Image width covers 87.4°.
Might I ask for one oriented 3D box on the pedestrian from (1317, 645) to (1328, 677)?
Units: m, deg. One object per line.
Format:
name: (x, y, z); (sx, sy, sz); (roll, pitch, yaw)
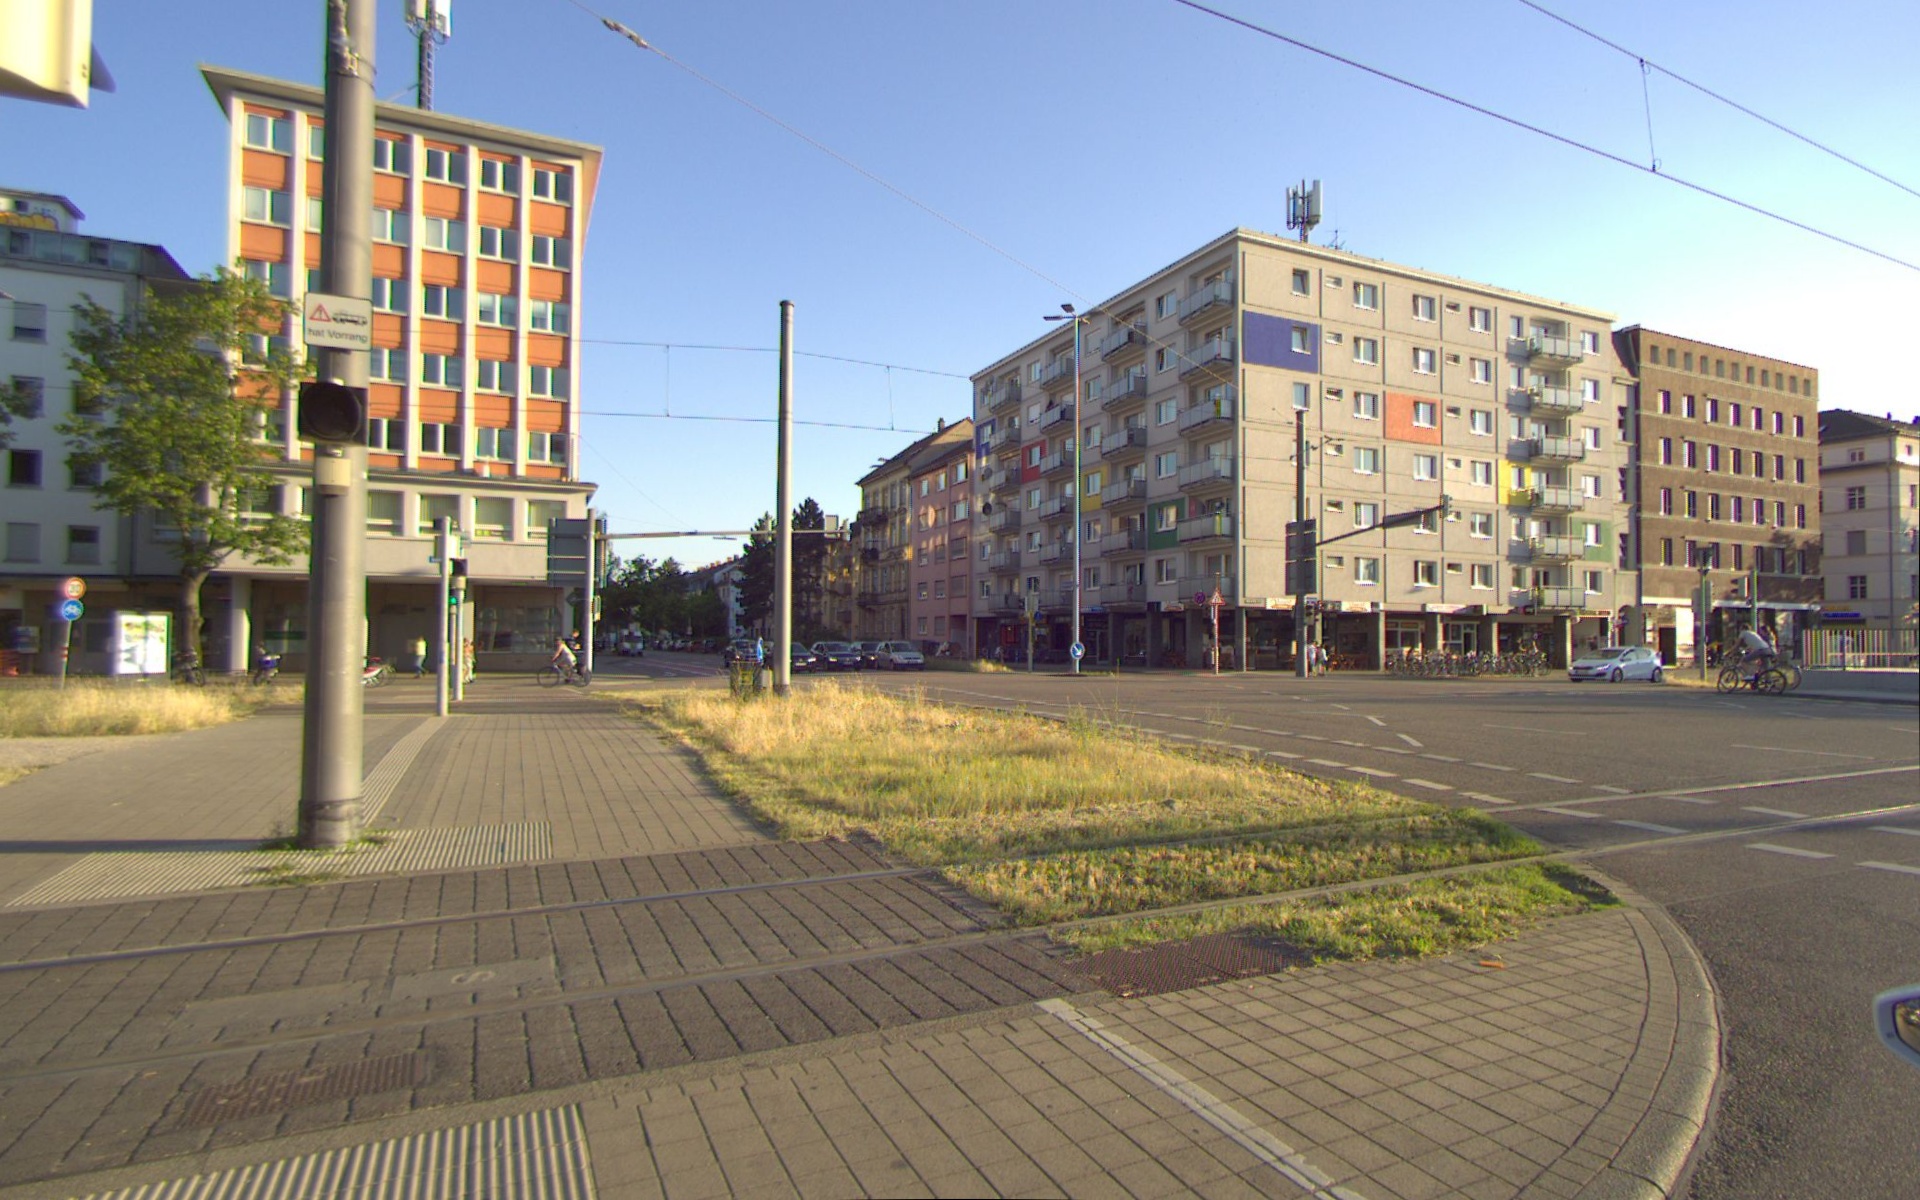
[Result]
pedestrian: (16.269, 2.743, 45.110); (0.376, 1.401, 0.394); (-1, -2, 37)

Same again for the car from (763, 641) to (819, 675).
car: (-7.993, 2.695, 47.214); (1.858, 1.505, 3.981); (1, -2, -21)

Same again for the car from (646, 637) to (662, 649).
car: (-48.429, 6.832, 158.860); (1.972, 1.858, 4.196); (1, -2, -24)

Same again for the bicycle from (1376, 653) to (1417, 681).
bicycle: (20.300, 3.098, 46.725); (0.630, 1.224, 1.789); (1, -2, -25)

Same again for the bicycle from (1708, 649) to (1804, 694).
bicycle: (20.549, 1.822, 25.960); (0.628, 1.089, 1.884); (2, -2, -42)

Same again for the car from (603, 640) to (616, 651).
car: (-65.387, 8.519, 187.369); (1.972, 2.076, 4.197); (0, -3, -24)

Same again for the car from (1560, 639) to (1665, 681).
car: (26.402, 2.387, 40.625); (3.945, 1.639, 1.685); (1, -2, -24)

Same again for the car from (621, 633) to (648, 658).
car: (-30.977, 4.328, 95.563); (1.972, 2.355, 4.196); (1, -2, -24)

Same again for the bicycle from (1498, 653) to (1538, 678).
bicycle: (27.181, 3.172, 48.948); (0.625, 1.139, 1.723); (2, -2, -23)

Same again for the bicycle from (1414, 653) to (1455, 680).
bicycle: (22.045, 3.081, 46.689); (0.591, 1.154, 1.752); (1, -2, -24)

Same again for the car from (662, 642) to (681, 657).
car: (-40.836, 6.947, 142.040); (1.972, 2.023, 4.197); (1, -3, -24)

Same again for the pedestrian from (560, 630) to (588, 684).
pedestrian: (-14.080, 2.067, 36.624); (0.718, 1.972, 0.709); (2, -2, -42)

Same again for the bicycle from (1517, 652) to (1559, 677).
bicycle: (28.475, 3.159, 49.526); (0.738, 1.194, 1.687); (1, -2, -23)

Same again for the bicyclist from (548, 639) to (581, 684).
bicyclist: (-12.776, 1.971, 32.439); (0.841, 1.445, 0.501); (0, -1, -2)

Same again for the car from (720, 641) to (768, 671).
car: (-12.248, 3.139, 56.800); (1.972, 1.551, 3.978); (1, -2, -23)

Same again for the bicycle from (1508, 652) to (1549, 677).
bicycle: (27.818, 3.127, 49.198); (0.695, 1.168, 1.687); (1, -2, -23)

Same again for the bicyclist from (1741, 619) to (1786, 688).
bicyclist: (21.974, 1.451, 27.471); (0.534, 1.842, 0.868); (2, -2, -42)

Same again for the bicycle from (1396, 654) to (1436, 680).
bicycle: (21.304, 3.118, 46.943); (0.600, 1.157, 1.771); (1, -2, -25)

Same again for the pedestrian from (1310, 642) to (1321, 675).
pedestrian: (16.274, 2.669, 46.014); (0.372, 1.467, 0.393); (-1, -2, 37)

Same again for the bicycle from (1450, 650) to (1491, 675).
bicycle: (24.671, 3.004, 48.590); (0.597, 1.174, 1.771); (1, -2, -25)

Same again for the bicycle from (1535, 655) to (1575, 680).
bicycle: (29.768, 3.366, 50.277); (0.687, 1.159, 1.687); (1, -2, -23)

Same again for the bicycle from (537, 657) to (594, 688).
bicycle: (-12.727, 2.346, 32.441); (1.635, 0.956, 0.509); (0, -2, 0)

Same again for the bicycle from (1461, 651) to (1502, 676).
bicycle: (25.300, 3.055, 48.767); (0.597, 1.151, 1.766); (1, -2, -24)

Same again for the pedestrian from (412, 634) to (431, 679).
pedestrian: (-22.003, 2.310, 41.070); (0.632, 1.815, 0.581); (1, -2, -26)

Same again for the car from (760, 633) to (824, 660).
car: (-11.601, 3.203, 69.332); (3.923, 1.806, 1.999); (0, -2, 23)

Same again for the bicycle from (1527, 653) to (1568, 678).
bicycle: (29.160, 3.262, 49.865); (0.738, 1.185, 1.687); (1, -2, -23)

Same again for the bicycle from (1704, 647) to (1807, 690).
bicycle: (21.838, 1.869, 27.610); (0.535, 1.098, 2.144); (2, -2, -41)

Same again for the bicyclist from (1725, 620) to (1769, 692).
bicyclist: (20.440, 1.437, 26.088); (0.642, 1.842, 0.785); (2, -2, -43)

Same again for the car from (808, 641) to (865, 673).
car: (-6.288, 2.836, 50.862); (1.970, 1.505, 3.981); (1, -2, -21)

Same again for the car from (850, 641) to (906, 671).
car: (-4.507, 3.020, 54.799); (1.970, 1.505, 3.981); (1, -2, -21)

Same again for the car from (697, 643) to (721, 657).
car: (-28.711, 5.719, 114.654); (1.972, 1.537, 4.196); (1, -2, -24)

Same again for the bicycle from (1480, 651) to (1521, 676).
bicycle: (26.066, 3.058, 48.470); (0.544, 1.132, 1.750); (1, -2, -24)

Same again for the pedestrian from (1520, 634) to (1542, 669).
pedestrian: (31.038, 2.777, 54.577); (0.727, 1.865, 0.781); (1, -2, -33)

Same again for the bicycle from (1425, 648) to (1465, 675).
bicycle: (22.585, 2.867, 46.798); (0.533, 1.183, 1.761); (1, -2, -24)

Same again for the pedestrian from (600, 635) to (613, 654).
pedestrian: (-38.558, 4.886, 109.484); (1.017, 2.040, 0.934); (2, -2, -38)

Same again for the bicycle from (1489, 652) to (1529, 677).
bicycle: (26.596, 3.123, 48.697); (0.560, 1.134, 1.756); (1, -2, -24)

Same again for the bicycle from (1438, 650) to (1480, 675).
bicycle: (24.011, 2.994, 48.395); (0.631, 1.176, 1.826); (1, -2, -24)

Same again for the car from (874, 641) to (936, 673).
car: (-2.798, 2.825, 50.301); (1.970, 1.505, 3.981); (1, -2, -21)

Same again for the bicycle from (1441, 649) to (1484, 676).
bicycle: (23.678, 2.924, 47.355); (0.643, 1.206, 1.783); (1, -2, -25)

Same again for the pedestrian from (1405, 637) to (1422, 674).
pedestrian: (21.611, 2.640, 47.894); (0.573, 1.706, 0.543); (-1, -2, 44)

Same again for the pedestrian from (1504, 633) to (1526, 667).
pedestrian: (30.546, 2.763, 55.281); (0.714, 1.836, 0.821); (1, -2, -35)

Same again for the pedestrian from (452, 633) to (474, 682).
pedestrian: (-18.897, 2.186, 38.199); (0.704, 1.842, 0.747); (1, -2, -25)

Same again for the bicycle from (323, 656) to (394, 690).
bicycle: (-20.137, 2.424, 33.662); (1.969, 1.089, 0.466); (1, -2, -26)

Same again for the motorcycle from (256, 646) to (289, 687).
motorcycle: (-23.738, 2.275, 34.699); (0.537, 1.335, 1.826); (1, -2, -23)

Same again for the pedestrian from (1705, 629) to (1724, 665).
pedestrian: (46.376, 2.883, 61.742); (0.781, 2.206, 0.600); (1, -2, -25)

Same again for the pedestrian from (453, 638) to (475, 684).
pedestrian: (-18.537, 2.262, 37.554); (0.720, 1.707, 0.581); (1, -2, -27)

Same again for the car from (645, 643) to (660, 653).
car: (-52.267, 8.125, 170.537); (1.972, 1.537, 4.196); (1, -2, -24)

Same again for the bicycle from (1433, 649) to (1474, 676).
bicycle: (23.111, 2.931, 47.044); (0.560, 1.197, 1.764); (1, -2, -25)

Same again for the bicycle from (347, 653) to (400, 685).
bicycle: (-20.415, 2.399, 34.992); (1.540, 1.089, 0.392); (1, -2, -26)

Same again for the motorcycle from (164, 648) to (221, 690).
motorcycle: (-24.752, 2.220, 32.415); (1.370, 1.335, 0.379); (1, -2, -24)

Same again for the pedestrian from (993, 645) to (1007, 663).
pedestrian: (2.784, 3.736, 69.470); (0.704, 1.272, 0.787); (1, -2, -28)

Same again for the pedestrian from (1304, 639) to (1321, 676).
pedestrian: (15.705, 2.554, 44.733); (0.563, 1.641, 0.602); (-1, -2, 34)

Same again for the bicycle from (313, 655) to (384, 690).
bicycle: (-19.500, 2.313, 32.079); (1.882, 1.089, 0.466); (1, -2, -26)
